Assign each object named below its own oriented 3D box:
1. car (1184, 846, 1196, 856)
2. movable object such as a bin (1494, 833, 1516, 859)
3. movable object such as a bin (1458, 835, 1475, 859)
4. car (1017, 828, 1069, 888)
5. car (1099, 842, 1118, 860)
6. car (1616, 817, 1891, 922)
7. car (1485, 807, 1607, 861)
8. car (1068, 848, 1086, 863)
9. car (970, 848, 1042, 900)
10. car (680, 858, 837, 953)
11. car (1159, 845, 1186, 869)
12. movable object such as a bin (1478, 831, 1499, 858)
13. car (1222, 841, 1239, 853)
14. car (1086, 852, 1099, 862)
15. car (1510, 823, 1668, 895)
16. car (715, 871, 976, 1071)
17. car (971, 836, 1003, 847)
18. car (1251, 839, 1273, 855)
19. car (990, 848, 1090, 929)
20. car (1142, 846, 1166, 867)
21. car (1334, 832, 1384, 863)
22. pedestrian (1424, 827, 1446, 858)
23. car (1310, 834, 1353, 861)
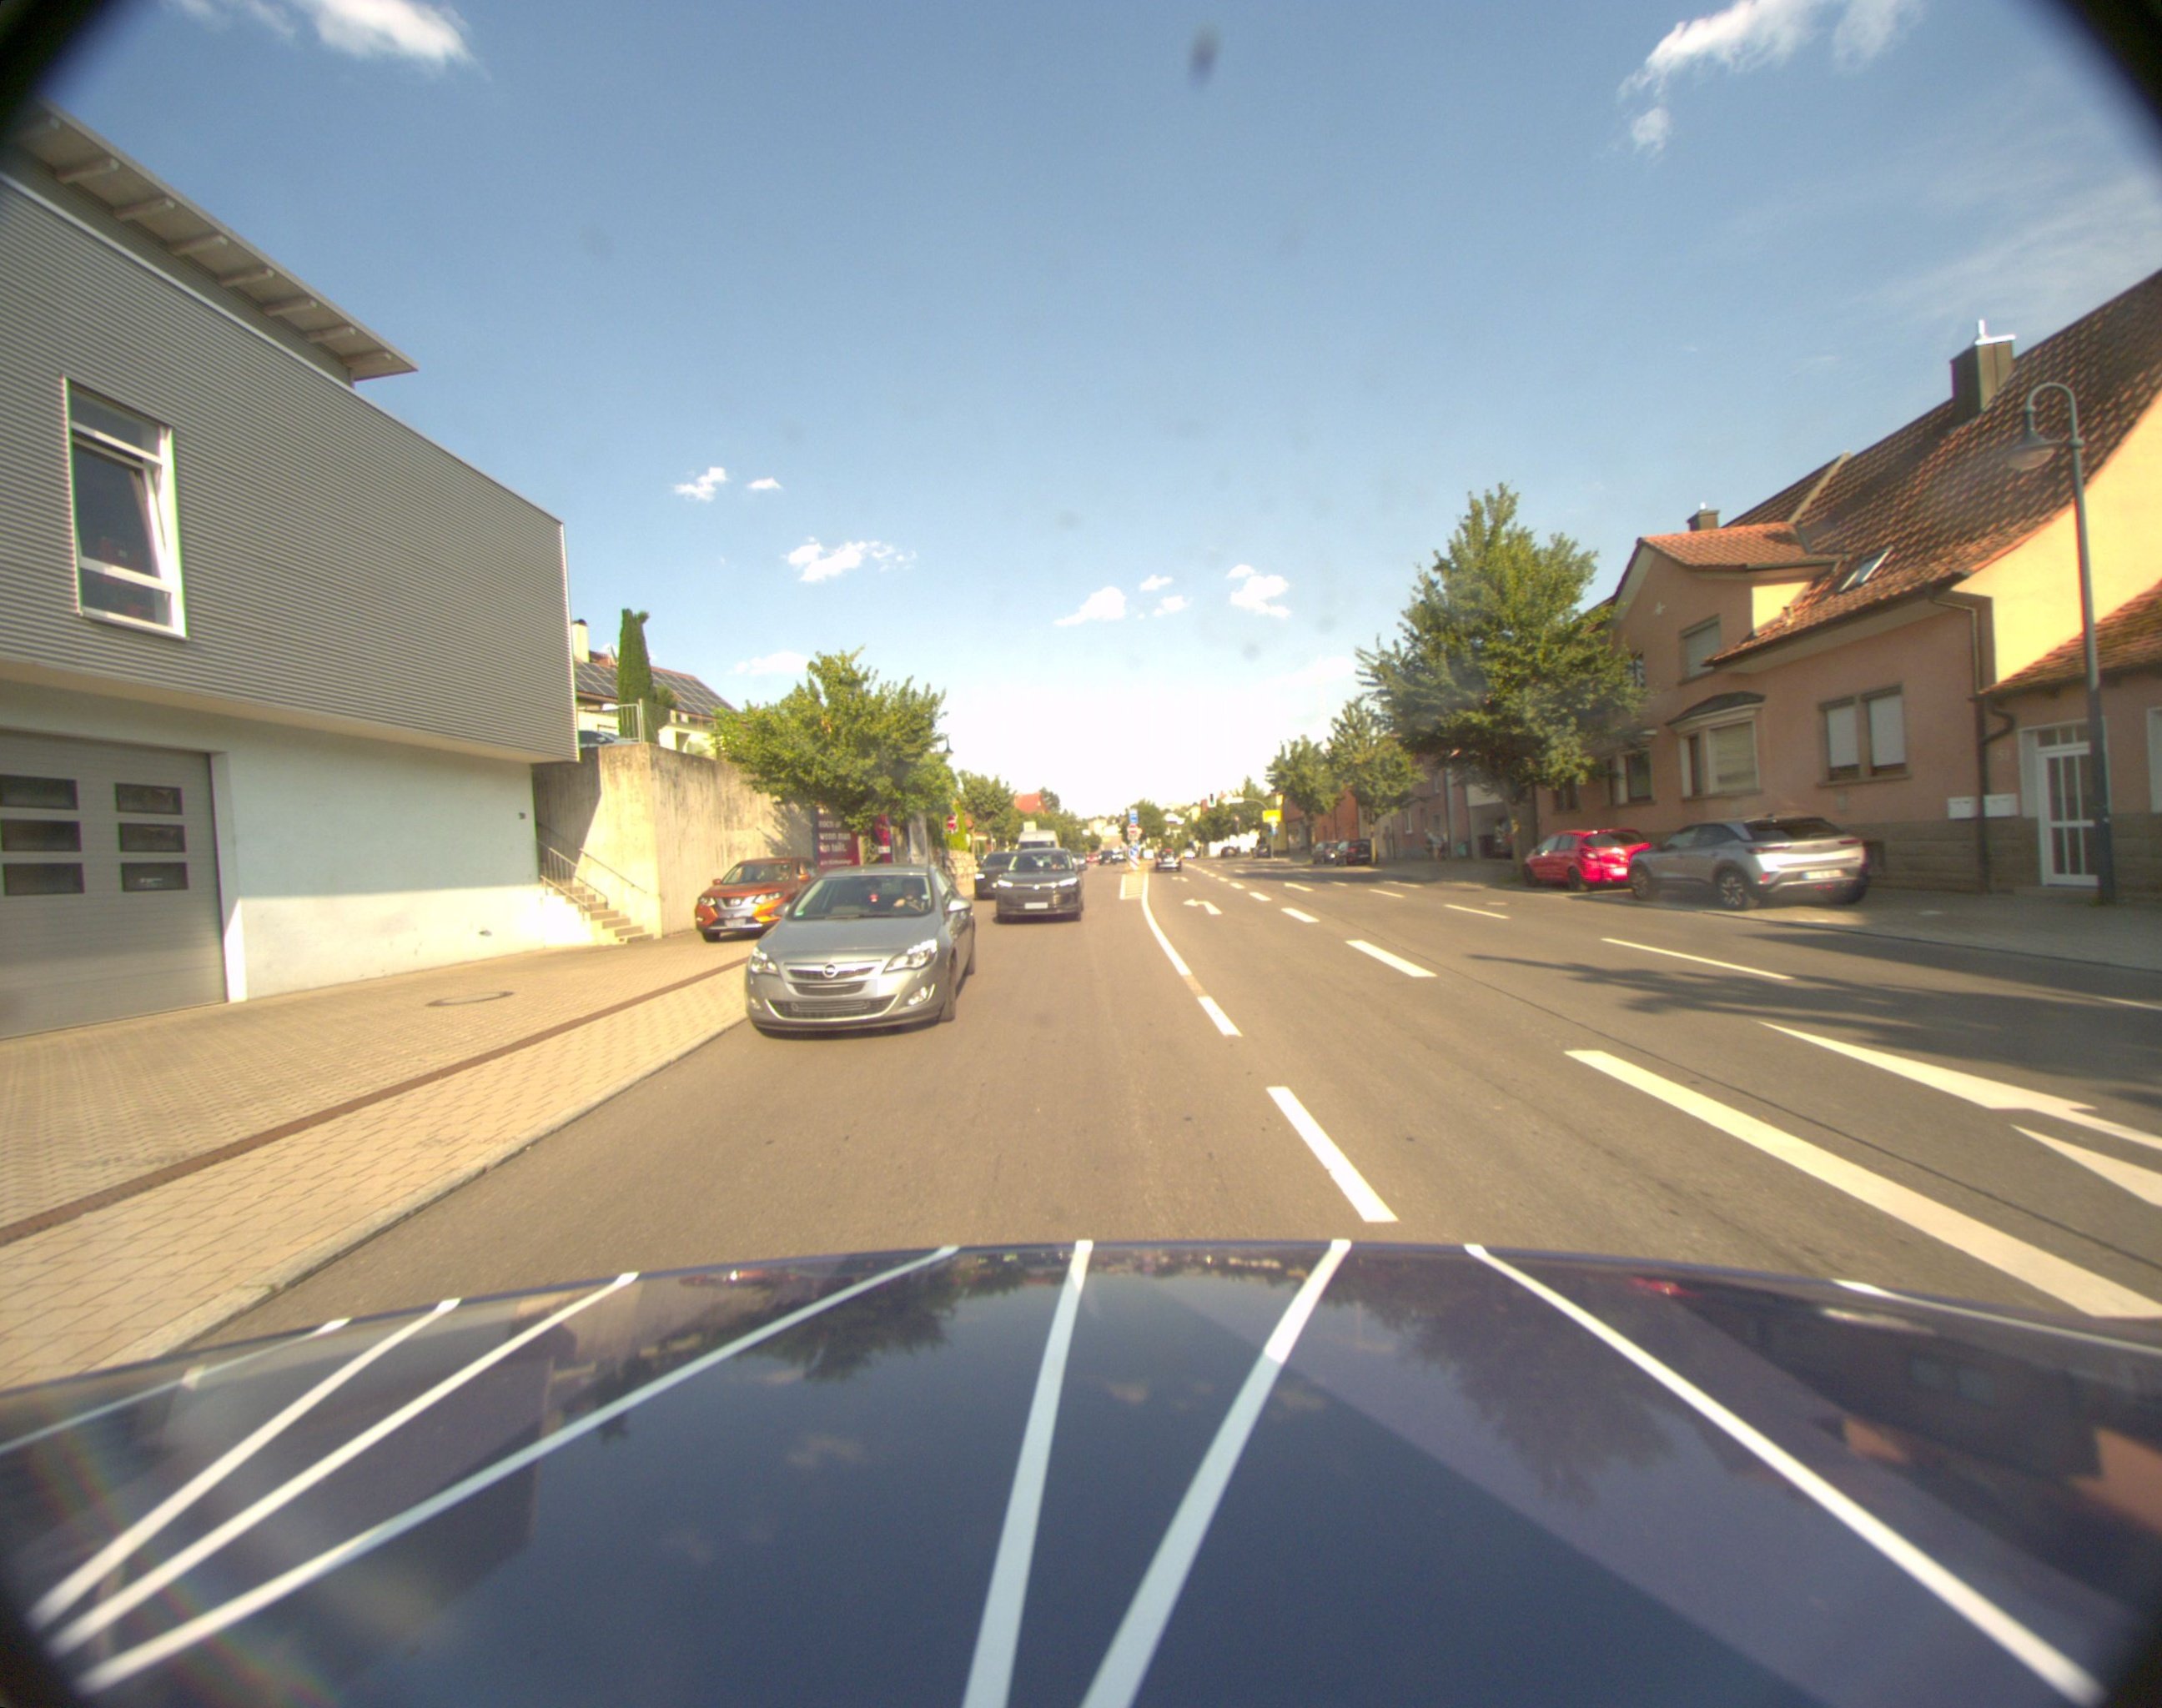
[{"bbox_3d":[19.255,-0.554,134.732,1.689,1.602,4.414,-3,0,4],"label":"car"},{"bbox_3d":[18.764,-0.354,33.634,0.567,1.136,0.576,-3,0,-1],"label":"movable object such as a bin"},{"bbox_3d":[18.480,-0.336,36.413,0.552,1.136,0.530,-3,0,7],"label":"movable object such as a bin"},{"bbox_3d":[-1.797,0.178,38.118,2.040,2.642,6.649,-3,0,1],"label":"car"},{"bbox_3d":[3.096,-0.323,85.841,1.815,1.861,4.002,-3,0,6],"label":"car"},{"bbox_3d":[11.785,0.236,13.744,1.759,1.470,4.002,-5,0,9],"label":"car"},{"bbox_3d":[19.121,-0.818,31.391,3.829,1.870,1.779,-5,1,6],"label":"car"},{"bbox_3d":[-0.347,0.164,75.350,1.515,1.354,2.956,-3,0,4],"label":"car"},{"bbox_3d":[-2.541,0.653,26.667,1.791,1.596,4.057,-2,0,4],"label":"car"},{"bbox_3d":[-6.796,0.979,16.582,1.840,1.640,4.535,-3,1,-6],"label":"car"},{"bbox_3d":[5.789,0.181,48.566,1.535,1.453,3.507,-3,0,5],"label":"car"},{"bbox_3d":[17.997,-0.420,33.530,0.567,1.136,0.576,-3,0,-1],"label":"movable object such as a bin"},{"bbox_3d":[20.368,-0.938,103.499,1.859,1.586,4.462,-3,0,6],"label":"car"},{"bbox_3d":[1.740,0.428,115.483,1.529,1.354,2.794,-3,0,7],"label":"car"},{"bbox_3d":[12.515,0.084,19.049,1.669,1.478,4.002,-5,0,9],"label":"car"},{"bbox_3d":[-2.092,0.946,7.939,1.652,1.414,4.142,-1,0,-4],"label":"car"},{"bbox_3d":[-12.971,-1.775,105.138,4.071,1.448,1.680,-1,1,16],"label":"car"},{"bbox_3d":[18.537,-0.732,77.930,1.595,1.430,3.777,-7,-1,8],"label":"car"},{"bbox_3d":[-0.819,0.719,17.702,1.767,1.582,4.057,-3,0,4],"label":"car"},{"bbox_3d":[5.348,0.163,55.194,1.592,1.419,3.579,-3,1,6],"label":"car"},{"bbox_3d":[15.397,-0.375,42.296,1.669,1.523,3.904,-5,0,8],"label":"car"},{"bbox_3d":[18.415,-0.586,39.522,0.779,1.598,0.721,-3,1,-40],"label":"pedestrian"},{"bbox_3d":[15.907,-0.407,48.414,1.515,1.501,3.886,-4,0,3],"label":"car"}]
